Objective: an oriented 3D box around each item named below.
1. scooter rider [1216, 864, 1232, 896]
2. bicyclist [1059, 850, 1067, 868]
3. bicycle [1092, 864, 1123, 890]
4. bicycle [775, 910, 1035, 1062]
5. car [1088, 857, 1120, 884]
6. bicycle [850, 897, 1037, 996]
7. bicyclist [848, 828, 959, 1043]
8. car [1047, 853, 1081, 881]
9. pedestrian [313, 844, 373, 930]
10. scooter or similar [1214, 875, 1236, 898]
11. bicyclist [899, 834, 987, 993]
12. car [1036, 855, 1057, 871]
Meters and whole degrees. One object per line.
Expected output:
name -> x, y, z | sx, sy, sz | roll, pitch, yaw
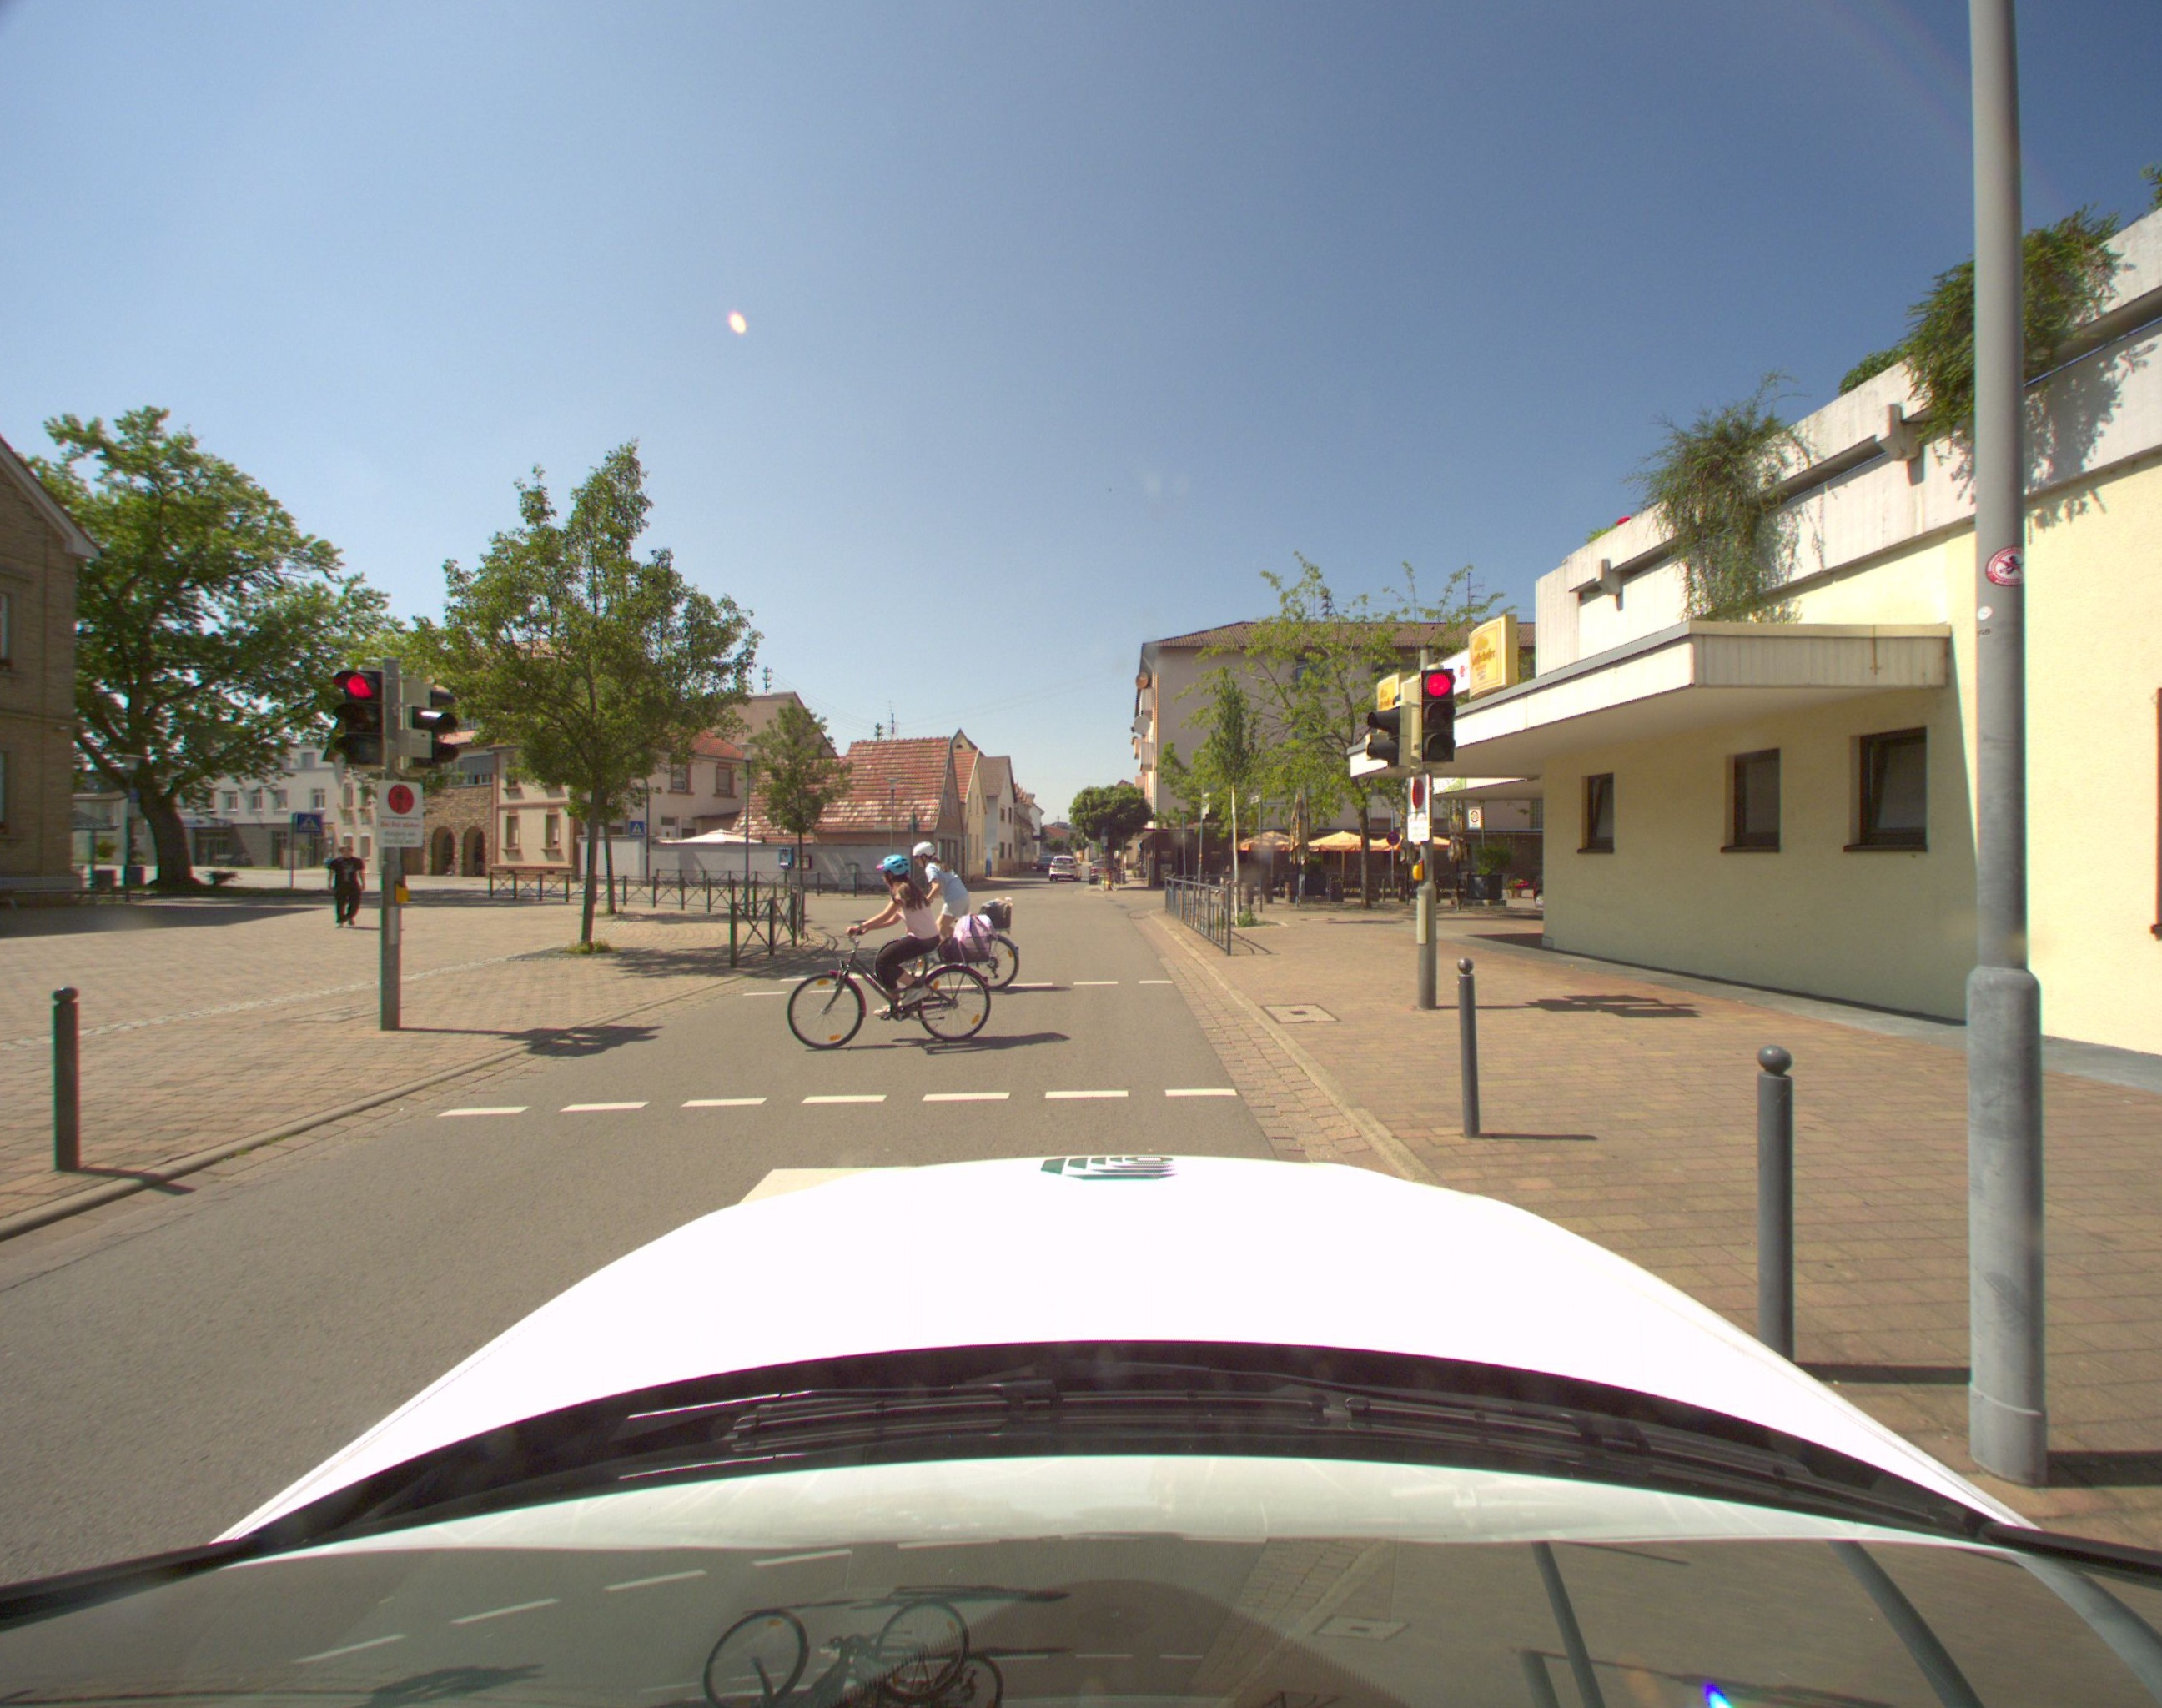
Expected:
scooter rider -> 5.840, 1.058, 33.191 | 0.520, 1.286, 0.413 | 1, -1, -39
bicyclist -> -1.699, 0.489, 77.849 | 0.666, 1.690, 0.762 | -1, -1, 1
bicycle -> 1.288, 1.097, 39.548 | 0.530, 1.193, 1.655 | 1, -1, -42
bicycle -> -1.370, 0.997, 6.482 | 1.893, 0.958, 0.673 | -2, 0, -15
car -> 1.407, 0.923, 48.326 | 1.797, 1.501, 4.003 | 0, 0, 3
bicycle -> -1.481, 0.998, 8.960 | 1.882, 0.958, 0.676 | -2, 0, 3
bicyclist -> -1.414, 0.603, 6.483 | 0.760, 1.581, 0.668 | -2, 0, -14
car -> -1.070, 0.810, 52.792 | 1.826, 1.652, 4.004 | 2, 0, 3
pedestrian -> -14.817, 0.648, 16.381 | 0.818, 1.654, 0.841 | 2, -1, -39
scooter or similar -> 5.856, 1.315, 33.163 | 0.382, 0.873, 0.880 | 0, -1, -39
bicyclist -> -1.502, 0.628, 8.966 | 0.756, 1.664, 0.671 | -2, 0, 3
car -> -3.303, 0.884, 79.111 | 1.707, 1.517, 3.789 | 0, 0, 3
